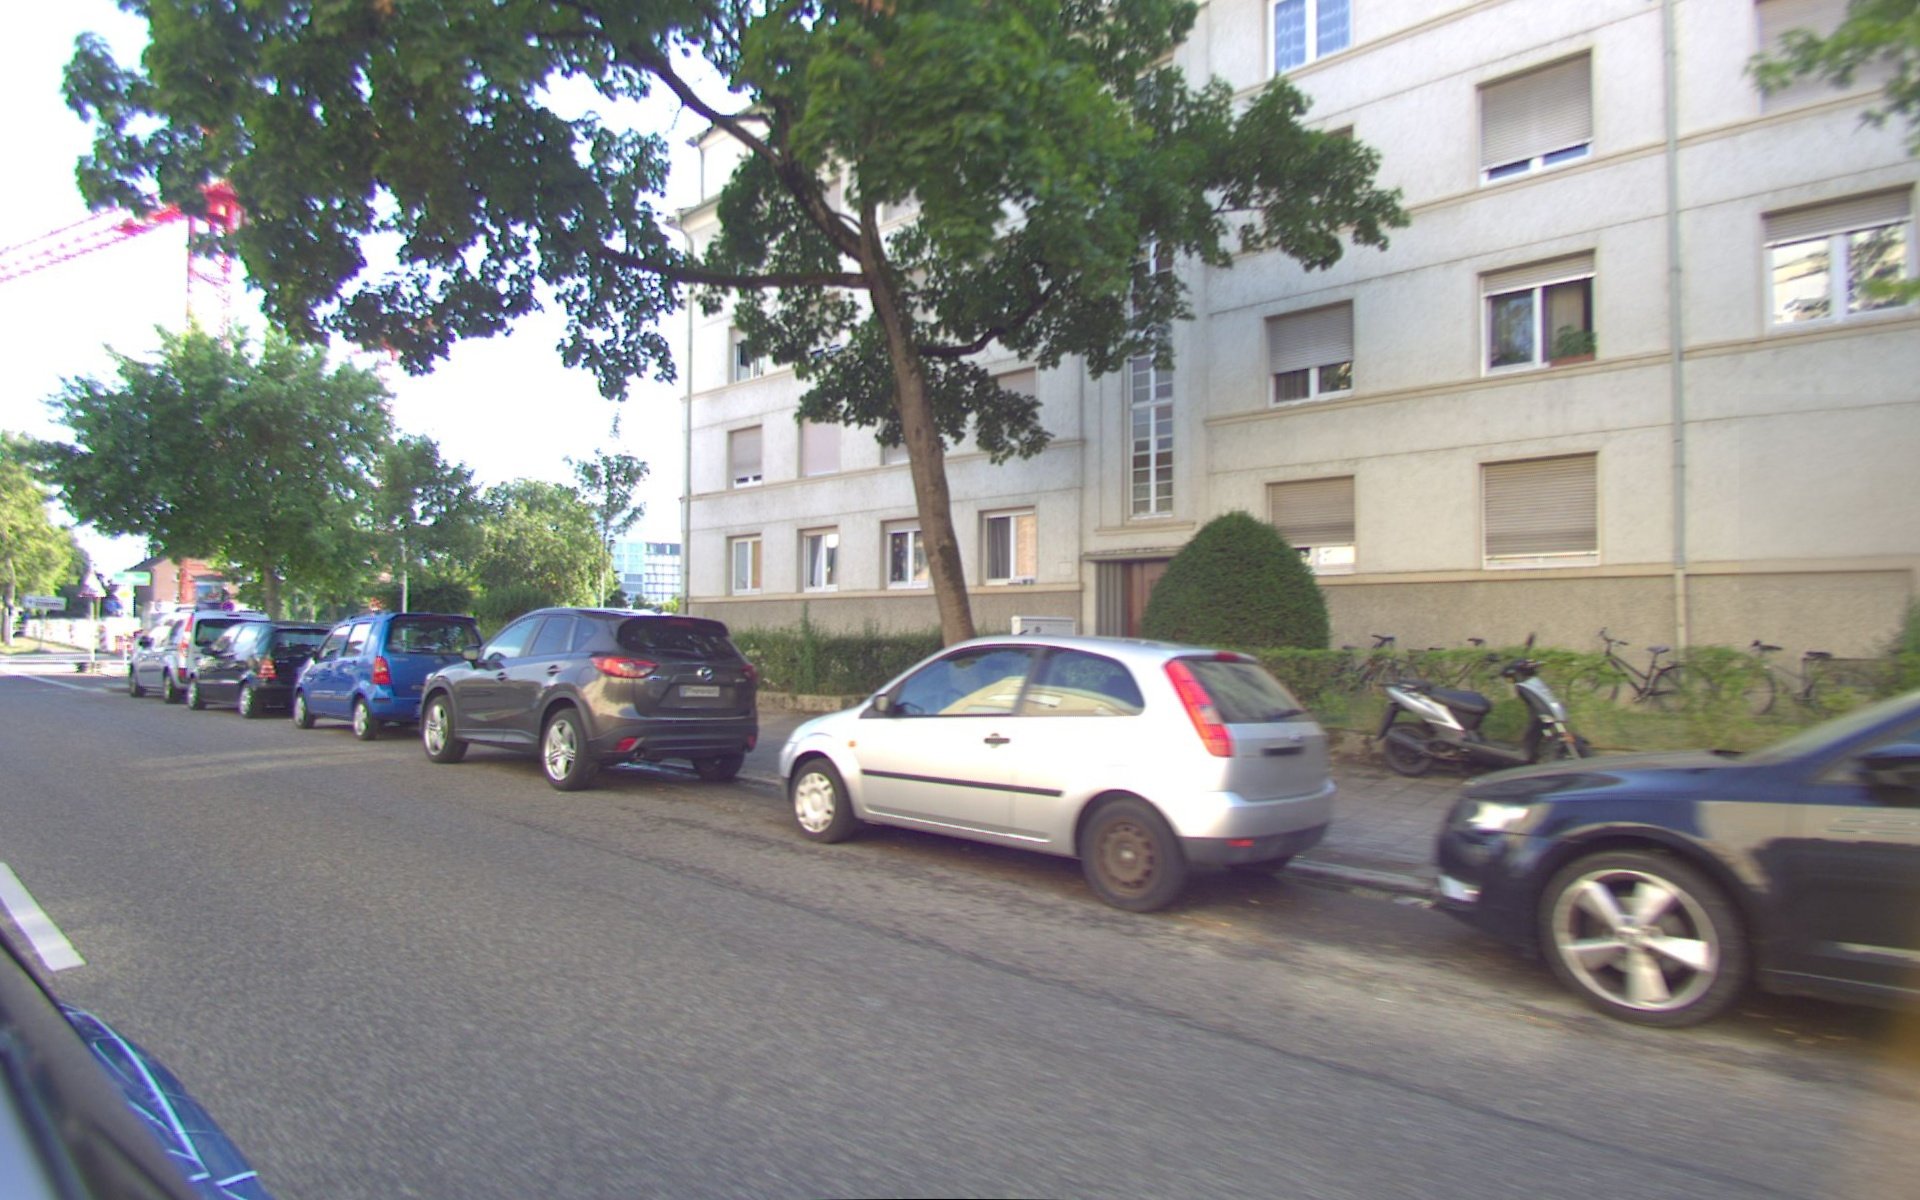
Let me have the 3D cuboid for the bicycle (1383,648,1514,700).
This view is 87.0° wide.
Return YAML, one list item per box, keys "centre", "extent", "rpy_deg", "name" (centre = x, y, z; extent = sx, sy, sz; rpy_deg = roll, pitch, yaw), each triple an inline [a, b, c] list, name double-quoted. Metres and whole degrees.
- centre: [7.589, 1.137, 15.781]
  extent: [1.787, 0.714, 0.404]
  rpy_deg: [0, 0, 40]
  name: "bicycle"

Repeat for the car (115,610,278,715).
- centre: [-15.743, 1.186, 20.773]
  extent: [4.486, 1.911, 1.821]
  rpy_deg: [0, -2, 42]
  name: "car"

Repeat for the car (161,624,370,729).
- centre: [-12.014, 1.247, 17.424]
  extent: [3.996, 1.564, 1.855]
  rpy_deg: [0, -4, 39]
  name: "car"

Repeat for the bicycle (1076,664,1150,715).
- centre: [2.645, 1.511, 17.377]
  extent: [0.409, 0.714, 1.765]
  rpy_deg: [-1, 0, 39]
  name: "bicycle"

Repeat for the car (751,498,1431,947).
- centre: [0.685, 0.613, 6.669]
  extent: [3.998, 2.029, 1.972]
  rpy_deg: [0, -4, 41]
  name: "car"

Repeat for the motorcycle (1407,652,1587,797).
- centre: [4.675, 1.065, 8.861]
  extent: [1.248, 1.187, 0.575]
  rpy_deg: [-1, 0, 6]
  name: "motorcycle"

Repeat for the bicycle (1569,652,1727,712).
- centre: [9.546, 1.122, 14.087]
  extent: [1.787, 0.714, 0.404]
  rpy_deg: [0, 0, 40]
  name: "bicycle"

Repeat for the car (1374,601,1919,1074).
- centre: [4.140, 0.797, 3.354]
  extent: [4.799, 1.445, 1.855]
  rpy_deg: [0, -5, 39]
  name: "car"

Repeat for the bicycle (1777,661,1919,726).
- centre: [11.281, 1.156, 12.546]
  extent: [1.787, 0.714, 0.404]
  rpy_deg: [0, 0, 40]
  name: "bicycle"

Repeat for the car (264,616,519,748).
- centre: [-8.193, 1.046, 14.468]
  extent: [3.996, 1.563, 1.855]
  rpy_deg: [0, 0, 39]
  name: "car"

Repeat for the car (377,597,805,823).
- centre: [-3.866, 0.936, 10.201]
  extent: [4.685, 1.772, 1.855]
  rpy_deg: [0, -4, 39]
  name: "car"
